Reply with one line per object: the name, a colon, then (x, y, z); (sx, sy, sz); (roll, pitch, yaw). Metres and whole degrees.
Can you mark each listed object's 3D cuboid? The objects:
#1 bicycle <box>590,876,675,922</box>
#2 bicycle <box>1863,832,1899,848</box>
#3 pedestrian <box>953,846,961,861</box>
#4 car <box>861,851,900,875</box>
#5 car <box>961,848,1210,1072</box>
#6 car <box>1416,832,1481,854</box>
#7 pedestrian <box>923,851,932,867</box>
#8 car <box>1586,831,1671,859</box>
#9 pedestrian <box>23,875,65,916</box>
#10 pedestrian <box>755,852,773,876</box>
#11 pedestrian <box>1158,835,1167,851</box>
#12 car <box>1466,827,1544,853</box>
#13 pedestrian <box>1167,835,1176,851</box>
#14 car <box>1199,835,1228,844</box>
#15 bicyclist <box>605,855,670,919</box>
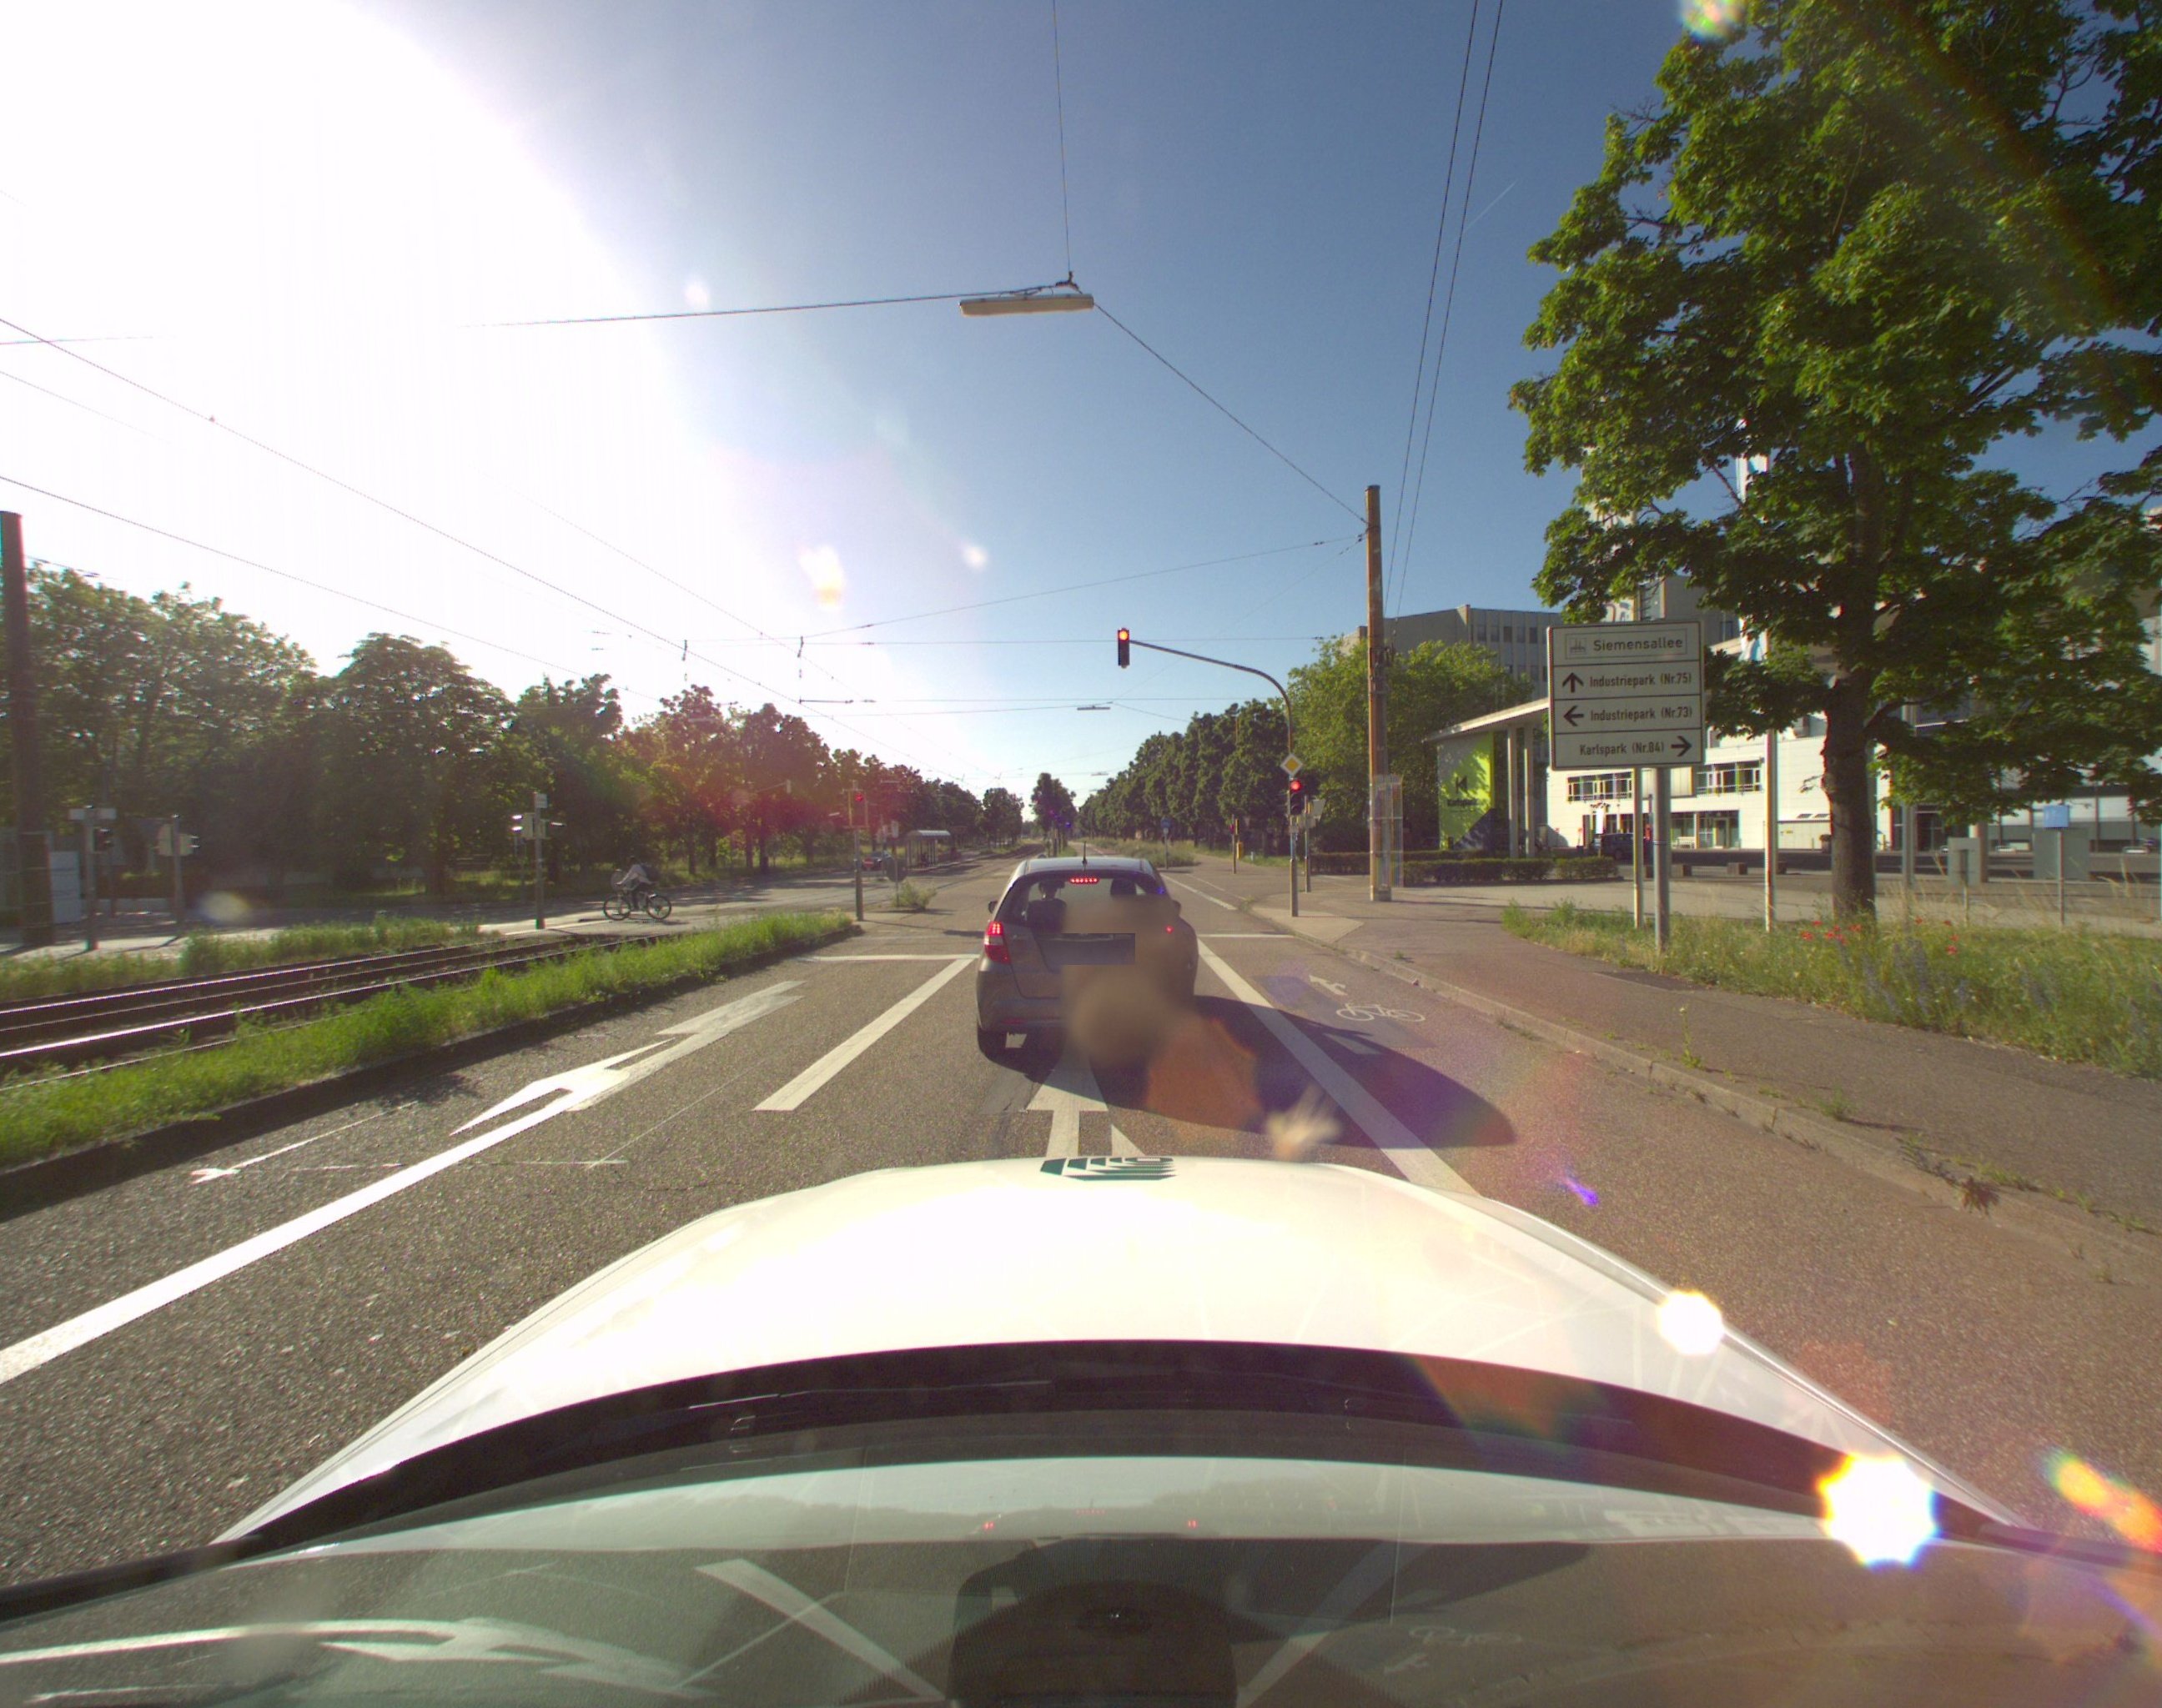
bicycle: (-11.534, 1.141, 20.996); (1.774, 1.102, 0.697); (-1, 0, -9)
bicycle: (52.272, -0.892, 53.236); (0.565, 1.004, 1.614); (-2, 1, -13)
pedestrian: (-12.265, -0.041, 80.568); (0.542, 1.447, 0.559); (-2, 0, 1)
car: (-17.472, 0.711, 71.185); (2.087, 1.810, 4.792); (-3, 1, 0)
car: (0.087, 0.734, 7.460); (1.694, 1.524, 3.711); (-1, 0, 2)
car: (30.047, -0.917, 66.656); (4.448, 1.686, 1.892); (-2, 1, -4)
pedestrian: (-12.443, 0.386, 65.999); (0.562, 1.257, 0.581); (-4, 0, 1)
car: (33.322, -0.562, 49.634); (3.984, 1.578, 1.949); (-1, 0, -8)
pedestrian: (-46.829, 1.863, 36.776); (0.943, 1.787, 0.824); (-2, 1, 15)
pedestrian: (-24.213, 0.757, 62.262); (0.751, 1.734, 0.943); (-1, 1, 30)
pedestrian: (9.743, -1.348, 97.373); (0.880, 1.884, 0.875); (-2, 1, -2)
car: (31.109, -1.042, 59.764); (4.888, 1.757, 2.082); (-2, 1, -14)
pedestrian: (10.843, -1.361, 97.423); (0.880, 1.884, 0.875); (-2, 1, -2)
car: (23.431, -2.539, 144.243); (4.623, 1.555, 1.997); (-2, 1, -5)
bicyclist: (-11.425, 0.825, 20.997); (1.232, 1.593, 0.803); (-1, 0, -8)
